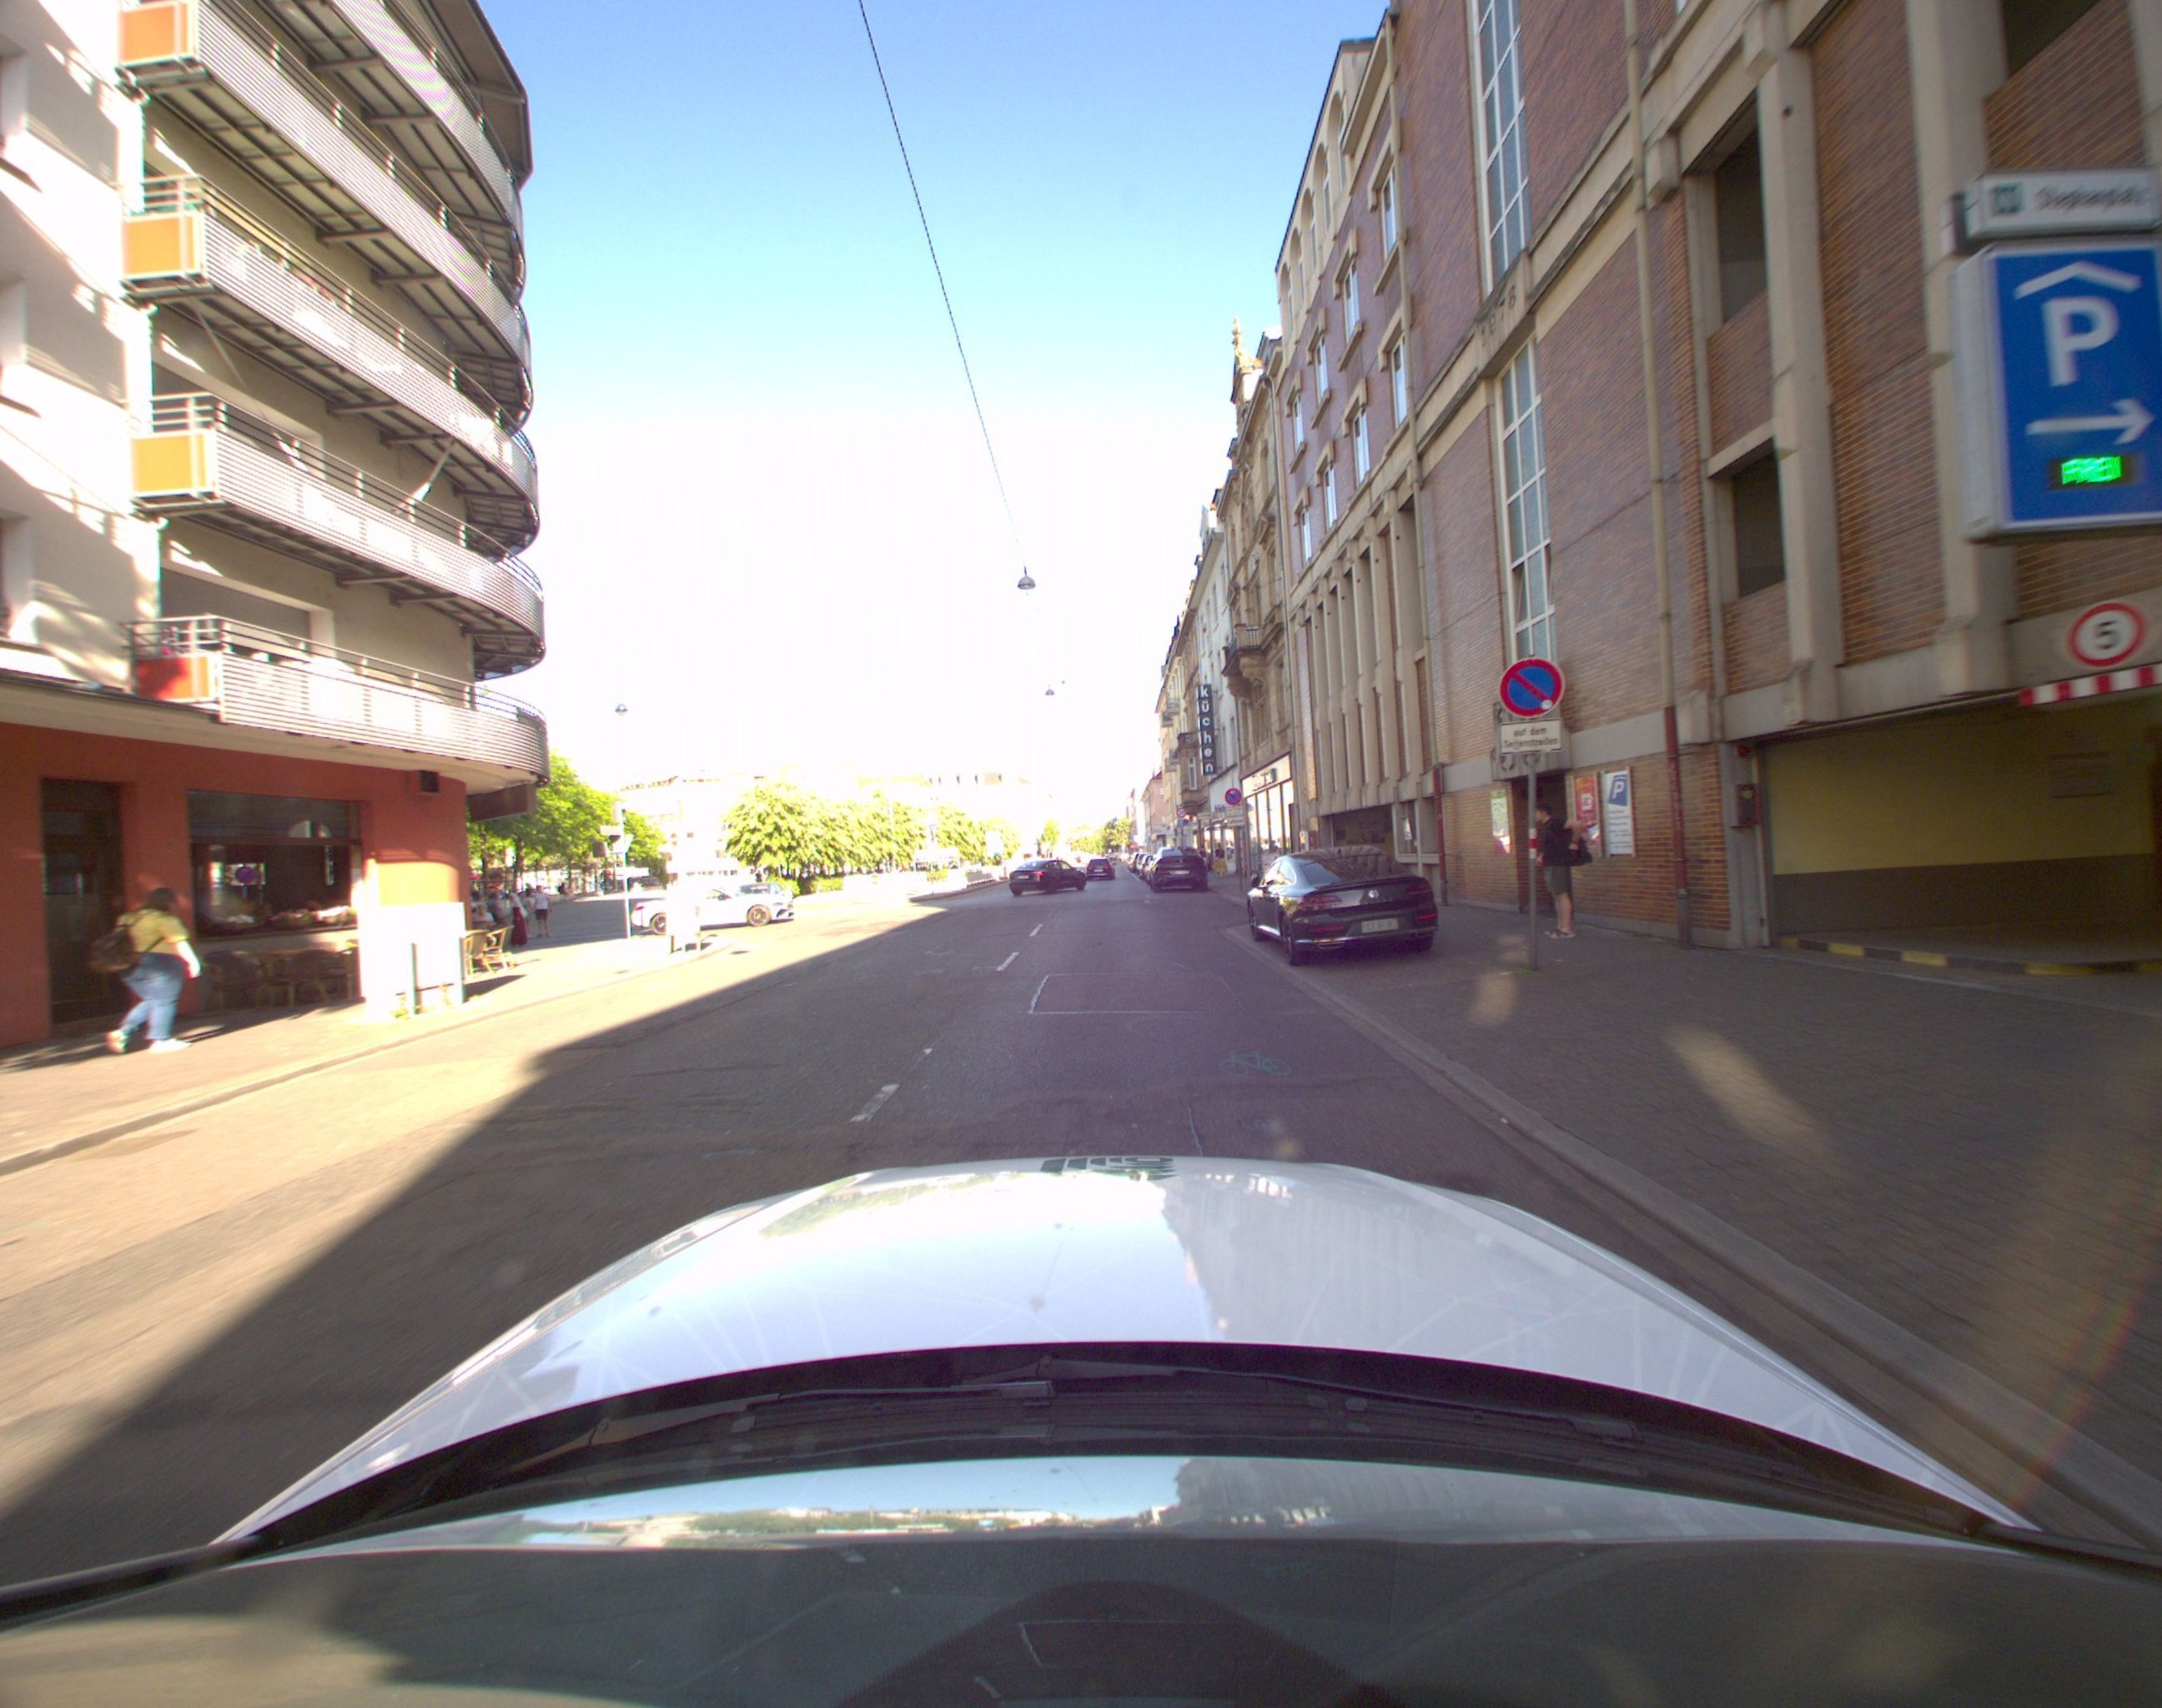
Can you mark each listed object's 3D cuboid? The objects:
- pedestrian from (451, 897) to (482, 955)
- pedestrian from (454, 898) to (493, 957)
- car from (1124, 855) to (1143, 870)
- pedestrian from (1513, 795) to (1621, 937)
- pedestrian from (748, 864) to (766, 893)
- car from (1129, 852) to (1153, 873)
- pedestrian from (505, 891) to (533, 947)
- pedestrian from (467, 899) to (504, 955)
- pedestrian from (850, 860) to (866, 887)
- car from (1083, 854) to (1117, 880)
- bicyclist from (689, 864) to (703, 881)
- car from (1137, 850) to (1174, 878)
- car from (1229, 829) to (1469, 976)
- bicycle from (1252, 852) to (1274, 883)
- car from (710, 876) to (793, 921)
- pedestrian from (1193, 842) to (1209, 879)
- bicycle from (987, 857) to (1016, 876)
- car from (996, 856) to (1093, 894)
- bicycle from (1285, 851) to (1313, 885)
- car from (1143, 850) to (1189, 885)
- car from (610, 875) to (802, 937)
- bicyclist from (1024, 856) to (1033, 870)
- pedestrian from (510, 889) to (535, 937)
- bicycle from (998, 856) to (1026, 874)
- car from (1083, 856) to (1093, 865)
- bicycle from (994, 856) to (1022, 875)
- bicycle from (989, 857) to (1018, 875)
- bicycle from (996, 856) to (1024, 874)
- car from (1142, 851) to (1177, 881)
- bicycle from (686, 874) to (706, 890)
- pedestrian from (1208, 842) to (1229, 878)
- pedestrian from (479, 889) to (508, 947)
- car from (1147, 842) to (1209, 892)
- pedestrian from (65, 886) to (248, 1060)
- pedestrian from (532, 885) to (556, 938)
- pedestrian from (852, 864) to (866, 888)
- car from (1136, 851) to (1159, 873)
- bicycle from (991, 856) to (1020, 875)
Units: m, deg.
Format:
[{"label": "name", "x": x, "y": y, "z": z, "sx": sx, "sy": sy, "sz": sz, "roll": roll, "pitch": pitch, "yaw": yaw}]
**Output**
[{"label": "pedestrian", "x": -16.863, "y": 1.961, "z": 22.354, "sx": 0.578, "sy": 1.535, "sz": 0.692, "roll": -3, "pitch": -1, "yaw": -39}, {"label": "pedestrian", "x": -14.697, "y": 1.753, "z": 19.712, "sx": 0.576, "sy": 1.340, "sz": 0.694, "roll": -3, "pitch": 0, "yaw": -27}, {"label": "car", "x": 5.475, "y": 0.883, "z": 84.887, "sx": 1.785, "sy": 1.460, "sz": 3.870, "roll": -2, "pitch": -1, "yaw": 2}, {"label": "pedestrian", "x": 6.048, "y": 0.145, "z": 10.188, "sx": 0.689, "sy": 1.635, "sz": 0.889, "roll": -6, "pitch": 0, "yaw": 1}, {"label": "pedestrian", "x": -24.534, "y": 1.857, "z": 61.709, "sx": 0.725, "sy": 2.108, "sz": 0.973, "roll": -3, "pitch": -1, "yaw": 24}, {"label": "car", "x": 4.927, "y": 0.743, "z": 67.137, "sx": 1.710, "sy": 1.635, "sz": 4.084, "roll": -2, "pitch": -1, "yaw": 0}, {"label": "pedestrian", "x": -16.023, "y": 1.837, "z": 23.228, "sx": 0.545, "sy": 1.535, "sz": 0.546, "roll": -3, "pitch": -1, "yaw": -40}, {"label": "pedestrian", "x": -14.964, "y": 1.822, "z": 20.476, "sx": 0.576, "sy": 1.340, "sz": 0.694, "roll": -3, "pitch": 0, "yaw": -27}, {"label": "pedestrian", "x": -18.400, "y": 1.606, "z": 67.296, "sx": 0.725, "sy": 2.108, "sz": 0.973, "roll": -3, "pitch": -1, "yaw": 24}, {"label": "car", "x": 1.250, "y": 0.801, "z": 52.318, "sx": 1.926, "sy": 1.487, "sz": 4.275, "roll": -3, "pitch": 0, "yaw": 4}, {"label": "bicyclist", "x": -40.457, "y": 1.968, "z": 85.588, "sx": 0.962, "sy": 1.700, "sz": 1.209, "roll": -3, "pitch": 0, "yaw": -3}, {"label": "car", "x": 4.399, "y": 0.560, "z": 48.514, "sx": 1.832, "sy": 1.546, "sz": 4.229, "roll": -2, "pitch": 0, "yaw": 1}, {"label": "car", "x": 3.560, "y": 0.563, "z": 11.941, "sx": 1.910, "sy": 1.478, "sz": 4.967, "roll": -7, "pitch": 0, "yaw": 2}, {"label": "bicycle", "x": 6.918, "y": 0.499, "z": 31.078, "sx": 0.356, "sy": 1.085, "sz": 1.942, "roll": -5, "pitch": 0, "yaw": 1}, {"label": "car", "x": -13.342, "y": 1.748, "z": 33.247, "sx": 1.745, "sy": 1.422, "sz": 4.532, "roll": -3, "pitch": 1, "yaw": -4}, {"label": "pedestrian", "x": 5.783, "y": 0.306, "z": 39.351, "sx": 0.617, "sy": 1.766, "sz": 0.519, "roll": -3, "pitch": -1, "yaw": 4}, {"label": "bicycle", "x": -9.159, "y": 1.389, "z": 93.431, "sx": 3.101, "sy": 2.013, "sz": 0.911, "roll": -3, "pitch": 0, "yaw": 11}, {"label": "car", "x": -1.470, "y": 0.852, "z": 34.566, "sx": 1.976, "sy": 1.480, "sz": 4.522, "roll": -3, "pitch": -1, "yaw": 29}, {"label": "bicycle", "x": 6.930, "y": 0.433, "z": 25.962, "sx": 0.356, "sy": 1.044, "sz": 1.791, "roll": -5, "pitch": 0, "yaw": 1}, {"label": "car", "x": 3.925, "y": 0.594, "z": 38.279, "sx": 1.832, "sy": 1.487, "sz": 4.186, "roll": -2, "pitch": 0, "yaw": 2}, {"label": "car", "x": -11.807, "y": 1.611, "z": 25.993, "sx": 5.102, "sy": 1.423, "sz": 1.993, "roll": -5, "pitch": 0, "yaw": -10}, {"label": "bicyclist", "x": -6.914, "y": 1.201, "z": 107.514, "sx": 1.143, "sy": 1.686, "sz": 0.819, "roll": -3, "pitch": -1, "yaw": -2}, {"label": "pedestrian", "x": -19.792, "y": 2.080, "z": 28.846, "sx": 0.618, "sy": 1.613, "sz": 0.577, "roll": -4, "pitch": 0, "yaw": -32}, {"label": "bicycle", "x": -8.326, "y": 1.339, "z": 98.528, "sx": 3.101, "sy": 2.013, "sz": 0.911, "roll": -3, "pitch": 0, "yaw": 11}, {"label": "car", "x": 1.695, "y": 1.418, "z": 182.867, "sx": 1.985, "sy": 1.771, "sz": 4.004, "roll": -2, "pitch": 0, "yaw": 3}, {"label": "bicycle", "x": -8.621, "y": 1.377, "z": 96.413, "sx": 3.101, "sy": 2.013, "sz": 0.911, "roll": -3, "pitch": 0, "yaw": 11}, {"label": "bicycle", "x": -9.008, "y": 1.375, "z": 94.384, "sx": 3.101, "sy": 2.013, "sz": 0.911, "roll": -3, "pitch": 0, "yaw": 11}, {"label": "bicycle", "x": -8.479, "y": 1.363, "z": 97.493, "sx": 3.101, "sy": 2.013, "sz": 0.911, "roll": -3, "pitch": 0, "yaw": 11}, {"label": "car", "x": 4.104, "y": 0.618, "z": 42.932, "sx": 1.602, "sy": 1.449, "sz": 3.832, "roll": -2, "pitch": 0, "yaw": 2}, {"label": "bicycle", "x": -40.394, "y": 2.921, "z": 85.468, "sx": 0.962, "sy": 1.503, "sz": 2.685, "roll": -3, "pitch": 0, "yaw": -3}, {"label": "pedestrian", "x": 6.650, "y": 0.280, "z": 39.388, "sx": 0.797, "sy": 1.674, "sz": 0.590, "roll": -5, "pitch": -1, "yaw": 4}, {"label": "pedestrian", "x": -16.407, "y": 1.775, "z": 22.736, "sx": 0.545, "sy": 1.535, "sz": 0.679, "roll": -3, "pitch": -1, "yaw": -40}, {"label": "car", "x": 3.627, "y": 0.446, "z": 31.277, "sx": 1.966, "sy": 1.725, "sz": 4.826, "roll": -2, "pitch": 0, "yaw": 2}, {"label": "pedestrian", "x": -9.740, "y": 1.204, "z": 8.627, "sx": 0.662, "sy": 1.659, "sz": 1.037, "roll": -3, "pitch": 0, "yaw": 1}, {"label": "pedestrian", "x": -19.227, "y": 2.037, "z": 29.162, "sx": 0.589, "sy": 1.827, "sz": 0.553, "roll": -3, "pitch": -1, "yaw": -32}, {"label": "pedestrian", "x": -20.414, "y": 2.008, "z": 74.794, "sx": 0.725, "sy": 2.108, "sz": 0.973, "roll": -3, "pitch": -1, "yaw": 24}, {"label": "car", "x": 4.985, "y": 0.569, "z": 61.560, "sx": 1.606, "sy": 1.546, "sz": 2.857, "roll": -2, "pitch": 0, "yaw": 3}, {"label": "bicycle", "x": -8.830, "y": 1.359, "z": 95.372, "sx": 3.101, "sy": 2.013, "sz": 0.911, "roll": -3, "pitch": 0, "yaw": 11}]
